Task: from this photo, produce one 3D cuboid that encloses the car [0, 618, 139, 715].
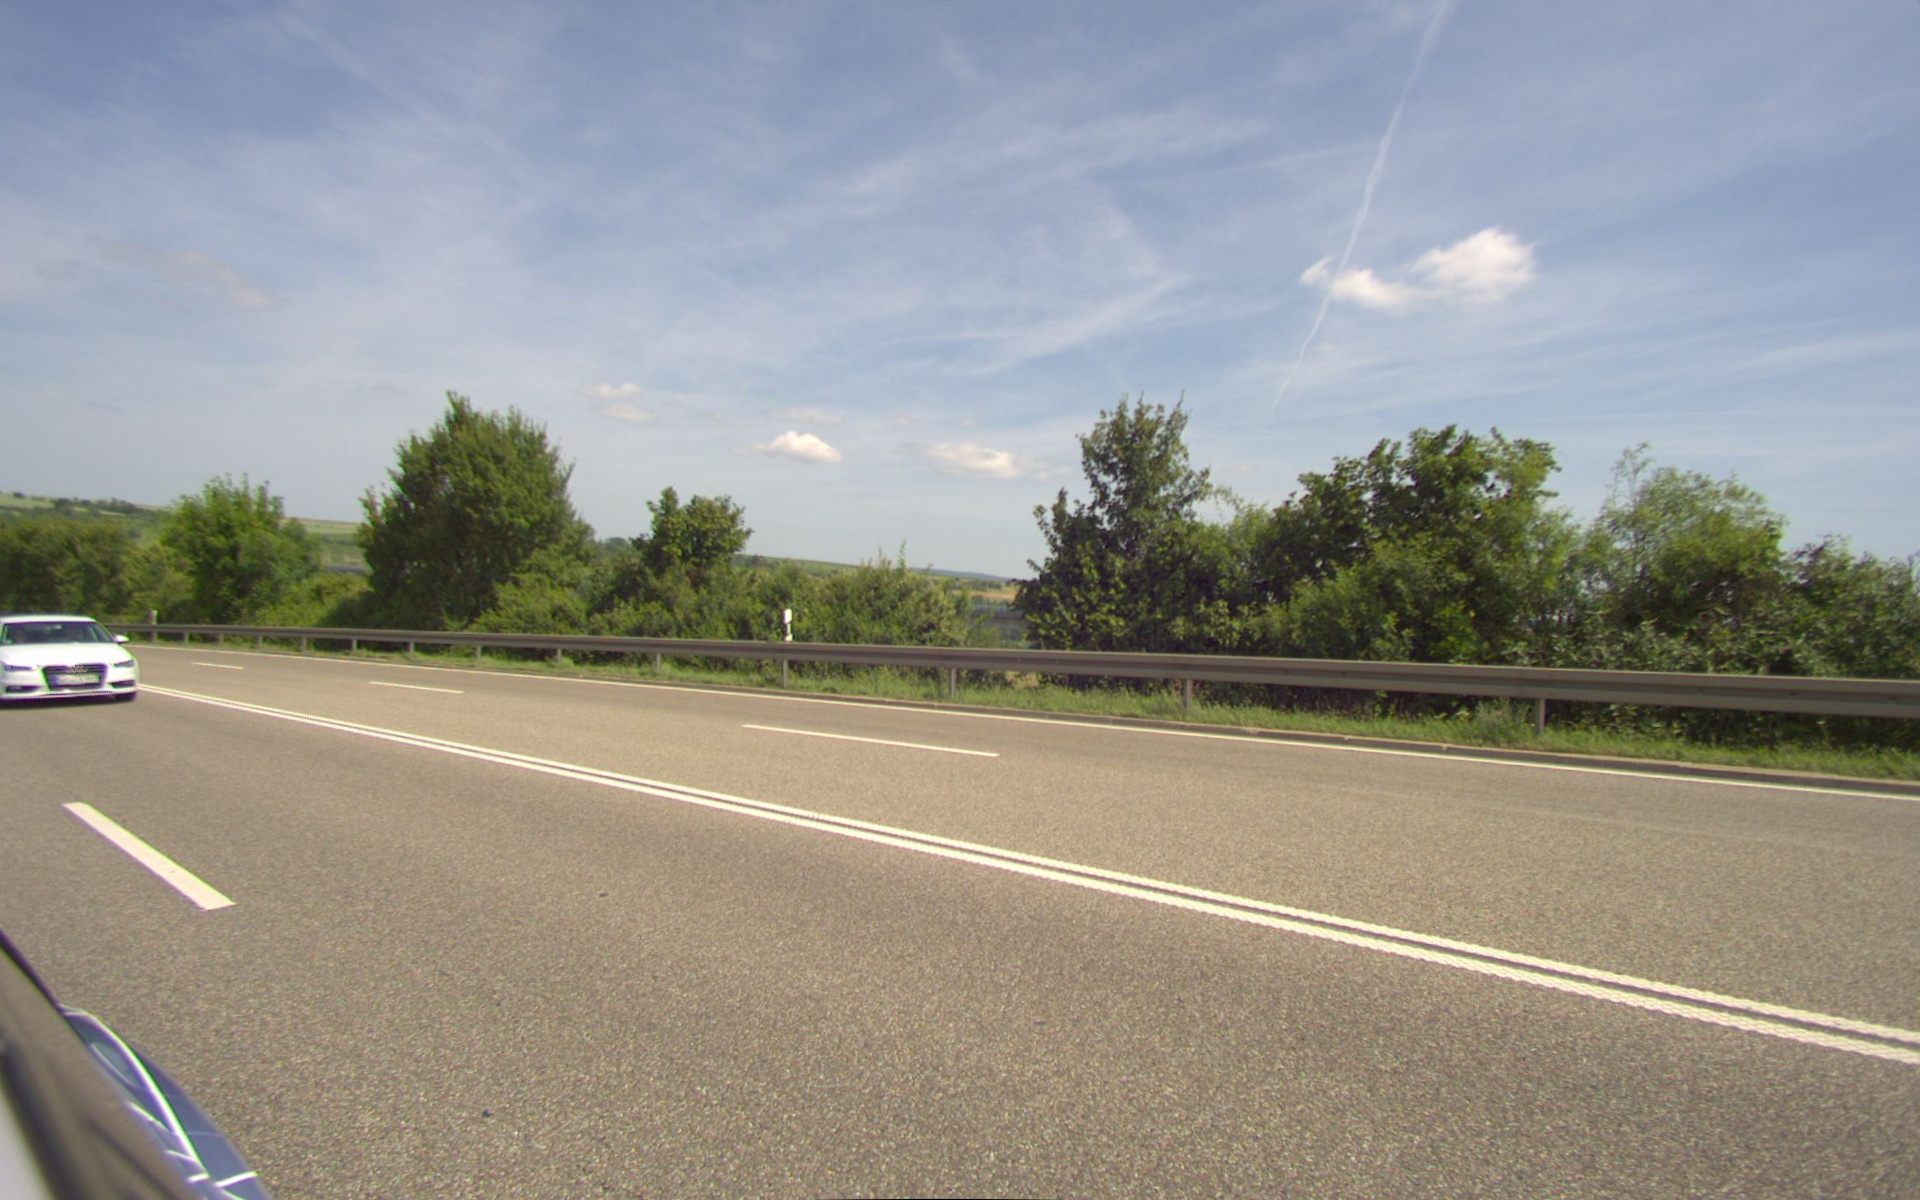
[{"bbox_3d":[-15.228,1.008,16.742,4.598,1.386,1.686,-1,-1,39],"label":"car"}]
